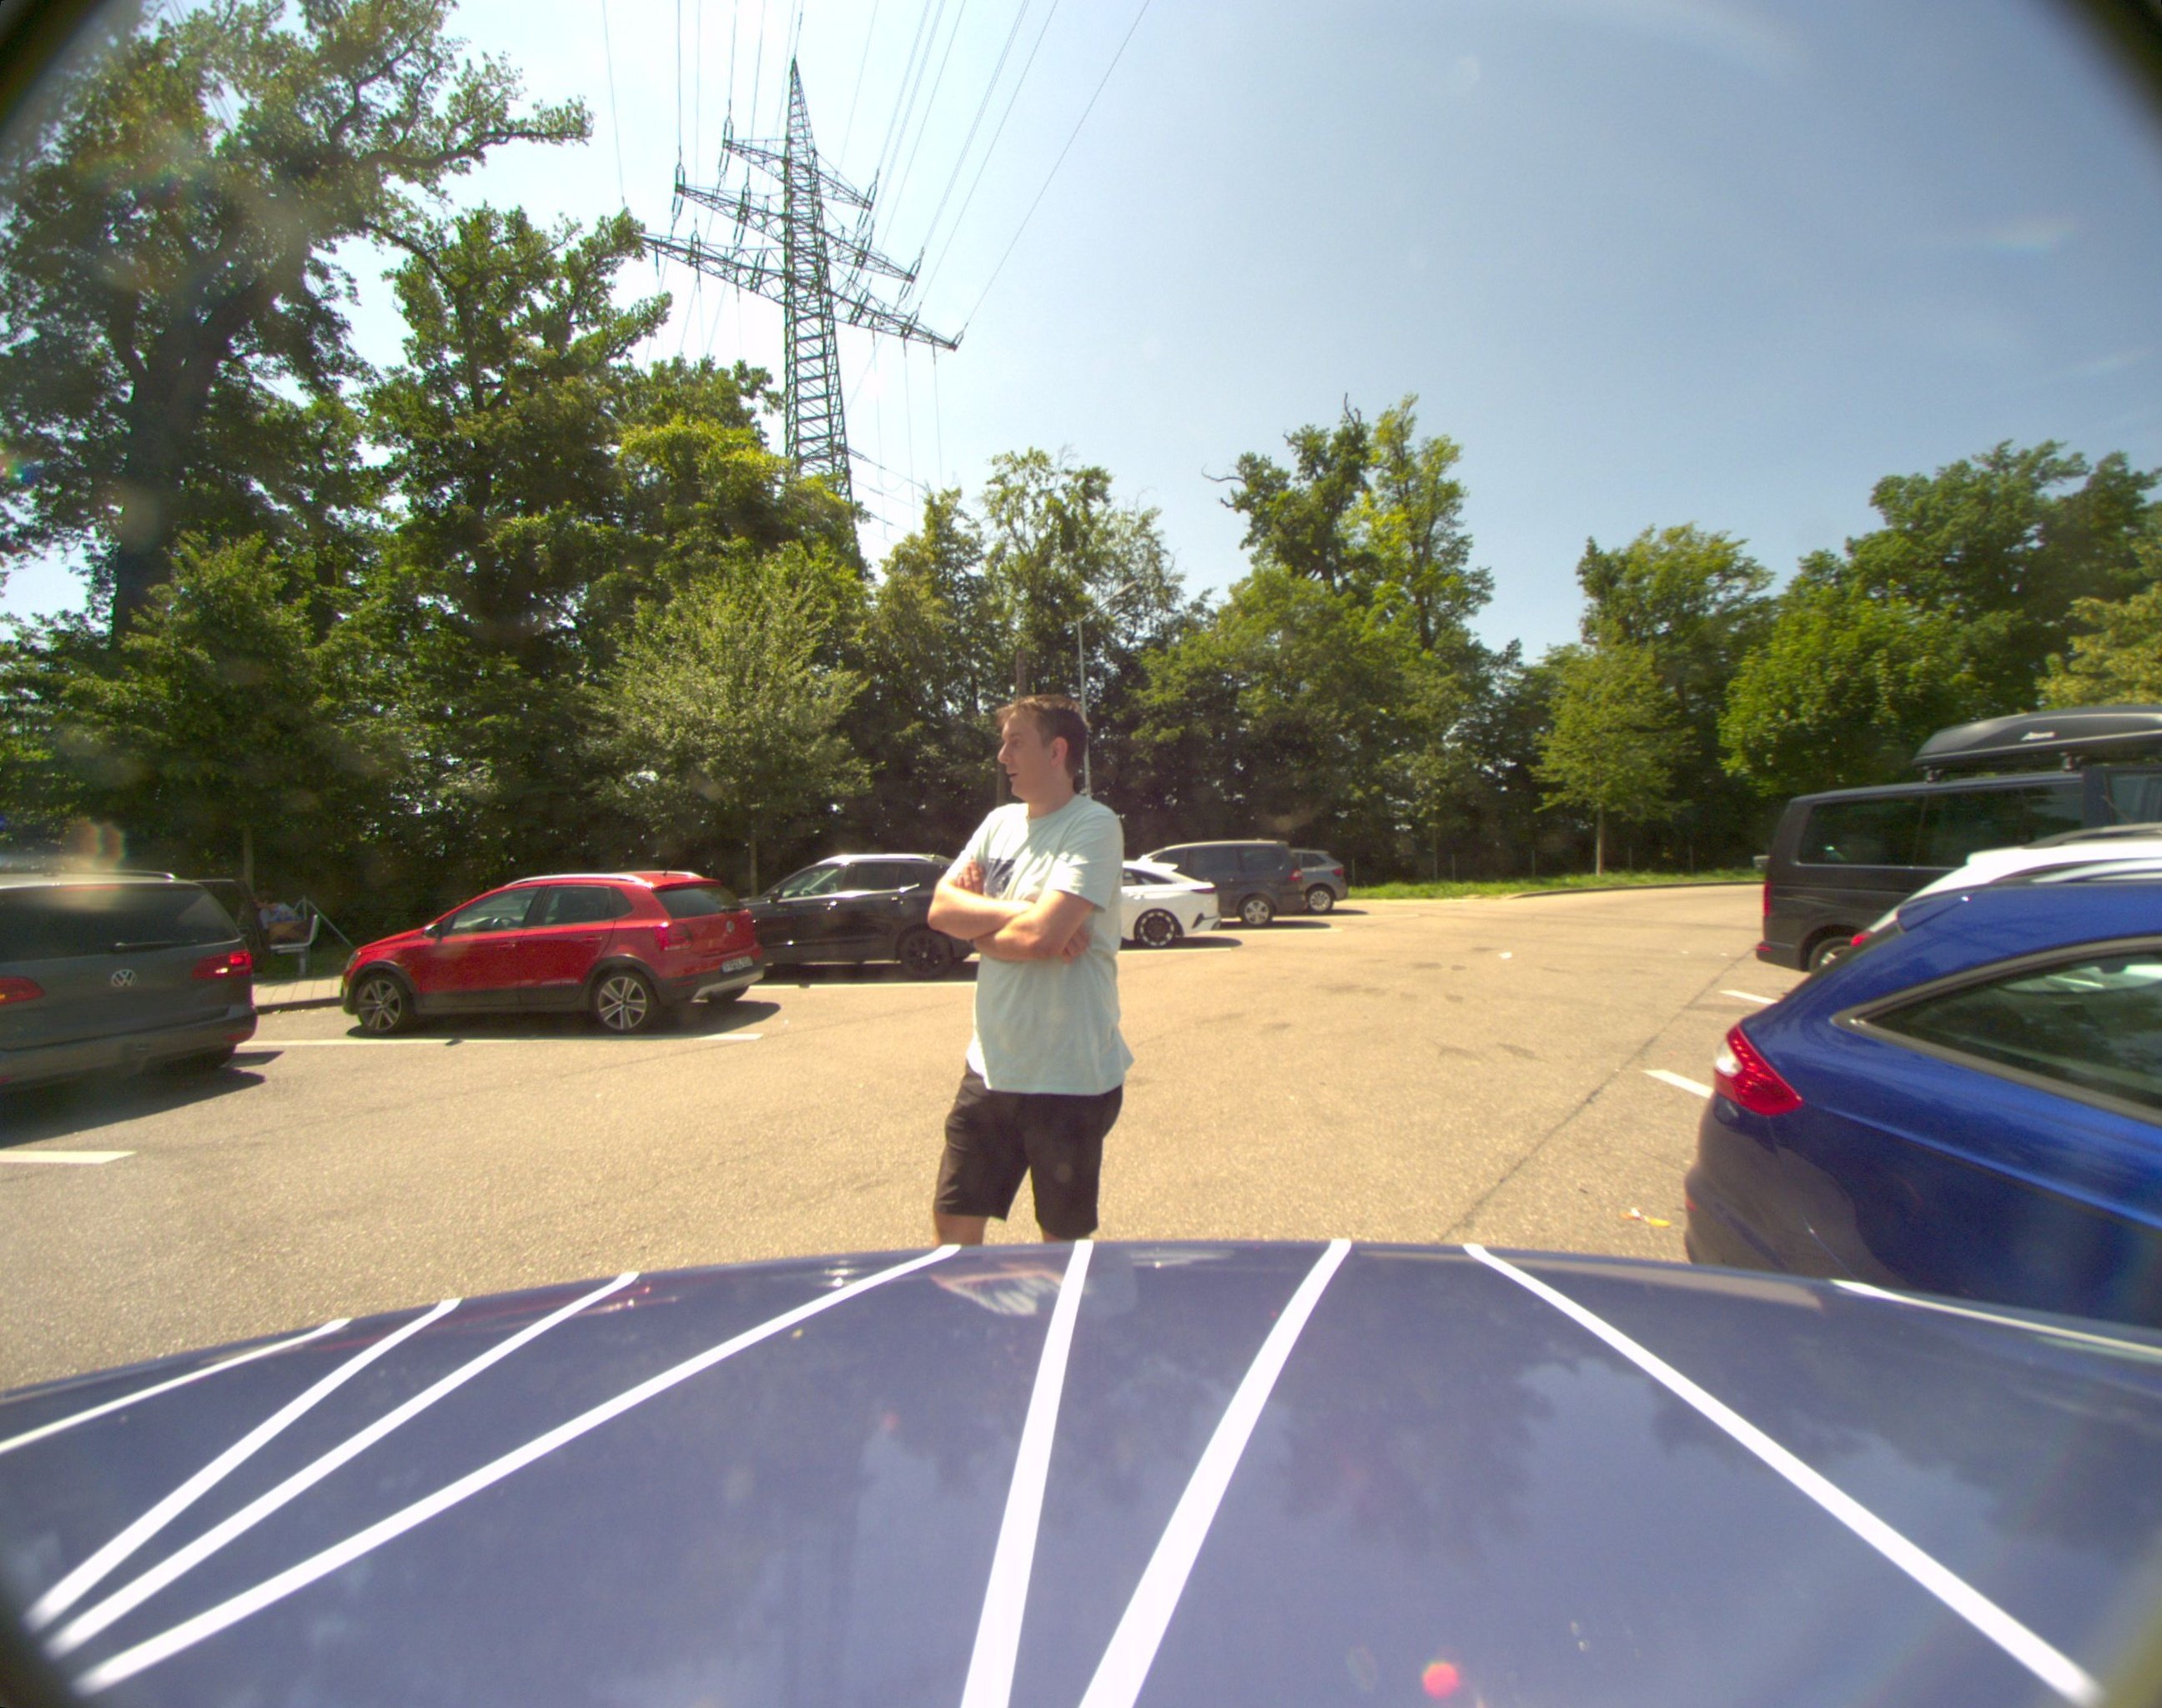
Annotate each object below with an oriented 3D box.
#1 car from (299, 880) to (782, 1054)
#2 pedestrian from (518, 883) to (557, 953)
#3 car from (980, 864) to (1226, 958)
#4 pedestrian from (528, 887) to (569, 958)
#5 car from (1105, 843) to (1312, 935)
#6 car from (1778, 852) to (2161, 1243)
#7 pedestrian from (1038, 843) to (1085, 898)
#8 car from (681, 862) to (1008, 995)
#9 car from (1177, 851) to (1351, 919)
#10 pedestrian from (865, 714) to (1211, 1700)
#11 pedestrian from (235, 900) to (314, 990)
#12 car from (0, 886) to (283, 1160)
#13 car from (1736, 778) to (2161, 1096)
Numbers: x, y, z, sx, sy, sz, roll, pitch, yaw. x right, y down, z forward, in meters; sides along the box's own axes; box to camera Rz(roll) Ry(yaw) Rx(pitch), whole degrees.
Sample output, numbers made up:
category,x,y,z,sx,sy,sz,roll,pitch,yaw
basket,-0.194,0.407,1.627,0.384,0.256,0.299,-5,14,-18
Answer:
category,x,y,z,sx,sy,sz,roll,pitch,yaw
car,-5.251,1.063,7.653,3.804,1.449,1.637,-1,1,7
pedestrian,-10.963,1.280,15.329,0.490,1.367,0.506,-2,0,41
car,0.398,0.908,12.730,3.805,1.359,1.803,-1,1,5
pedestrian,-10.178,1.297,14.523,0.490,1.291,0.506,-2,0,41
car,2.500,0.682,15.480,3.882,1.680,1.882,-1,0,5
car,4.770,0.702,2.416,1.607,1.405,3.743,-2,-1,-1
pedestrian,-0.478,0.407,18.880,0.890,1.292,0.865,-2,0,15
car,-3.017,0.938,10.280,3.806,1.538,1.759,-1,1,2
car,4.249,0.710,18.124,3.805,1.468,1.743,-1,1,5
pedestrian,-0.166,0.661,1.880,0.634,1.857,0.747,-2,0,-17
pedestrian,-11.749,1.310,11.066,0.680,1.211,0.675,-4,-2,36
car,-8.352,1.093,5.437,3.950,1.581,1.753,-1,1,11
car,7.298,0.458,5.013,2.048,1.850,4.430,-2,-1,-1
